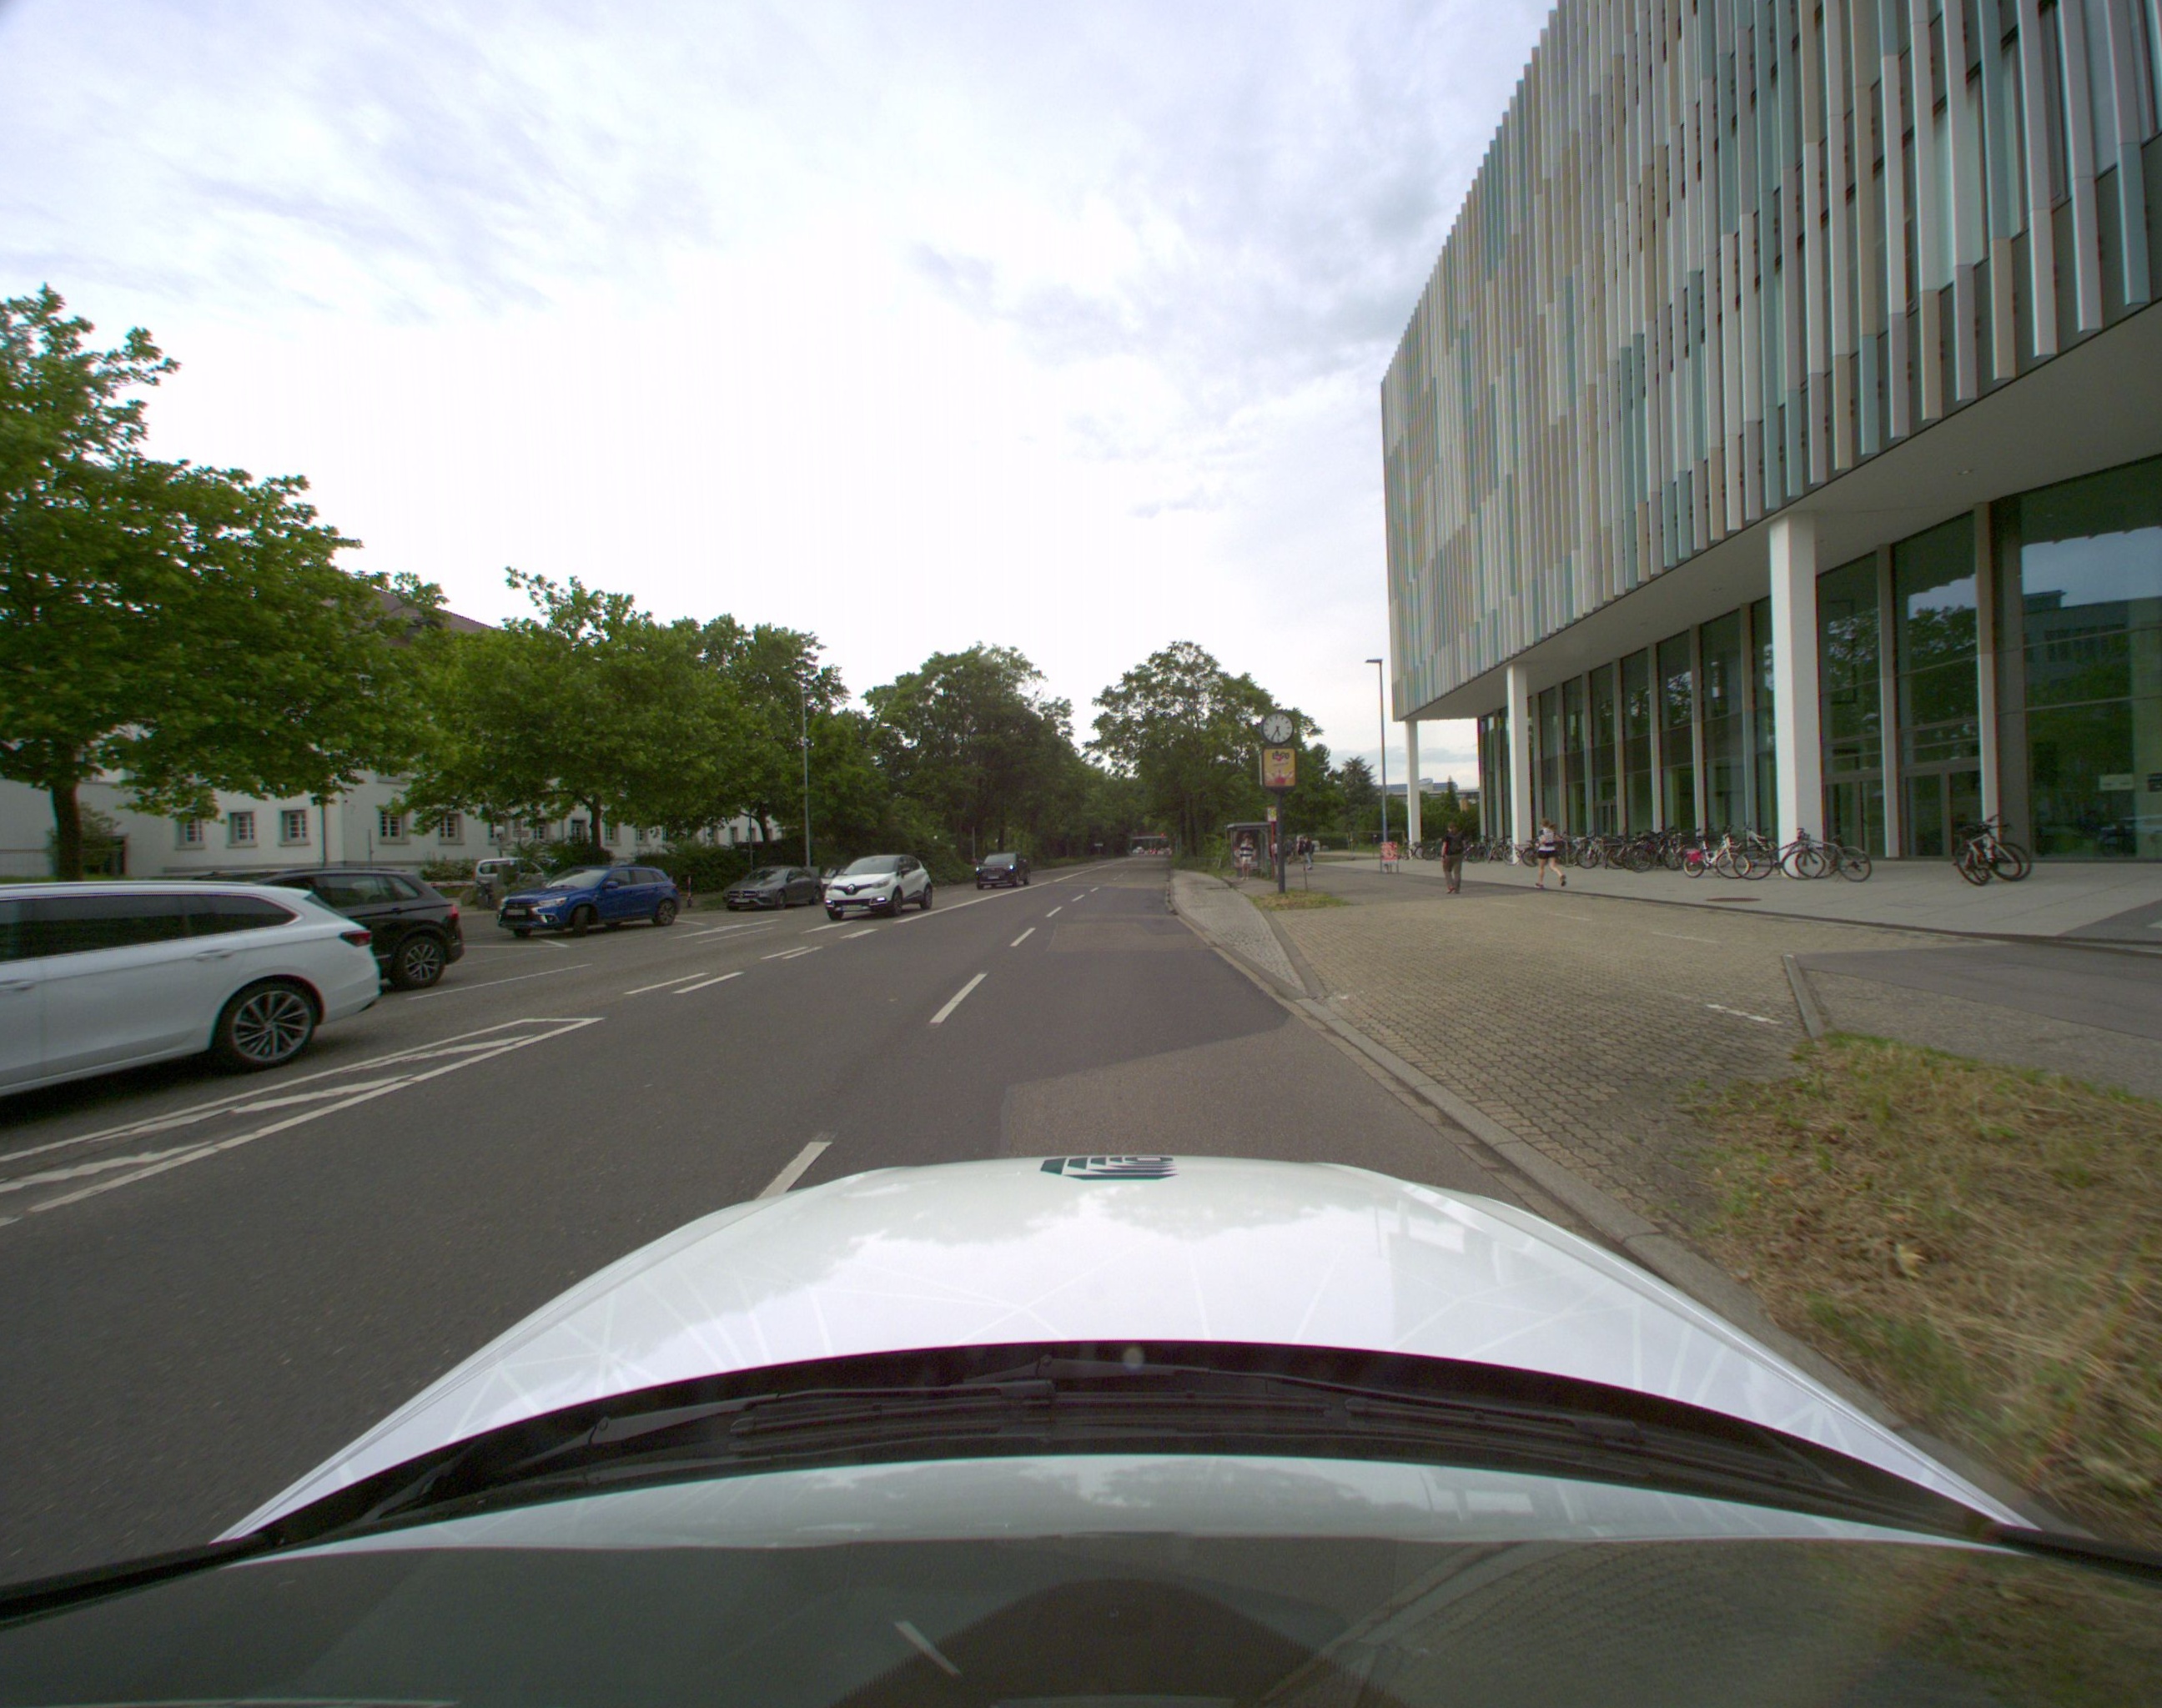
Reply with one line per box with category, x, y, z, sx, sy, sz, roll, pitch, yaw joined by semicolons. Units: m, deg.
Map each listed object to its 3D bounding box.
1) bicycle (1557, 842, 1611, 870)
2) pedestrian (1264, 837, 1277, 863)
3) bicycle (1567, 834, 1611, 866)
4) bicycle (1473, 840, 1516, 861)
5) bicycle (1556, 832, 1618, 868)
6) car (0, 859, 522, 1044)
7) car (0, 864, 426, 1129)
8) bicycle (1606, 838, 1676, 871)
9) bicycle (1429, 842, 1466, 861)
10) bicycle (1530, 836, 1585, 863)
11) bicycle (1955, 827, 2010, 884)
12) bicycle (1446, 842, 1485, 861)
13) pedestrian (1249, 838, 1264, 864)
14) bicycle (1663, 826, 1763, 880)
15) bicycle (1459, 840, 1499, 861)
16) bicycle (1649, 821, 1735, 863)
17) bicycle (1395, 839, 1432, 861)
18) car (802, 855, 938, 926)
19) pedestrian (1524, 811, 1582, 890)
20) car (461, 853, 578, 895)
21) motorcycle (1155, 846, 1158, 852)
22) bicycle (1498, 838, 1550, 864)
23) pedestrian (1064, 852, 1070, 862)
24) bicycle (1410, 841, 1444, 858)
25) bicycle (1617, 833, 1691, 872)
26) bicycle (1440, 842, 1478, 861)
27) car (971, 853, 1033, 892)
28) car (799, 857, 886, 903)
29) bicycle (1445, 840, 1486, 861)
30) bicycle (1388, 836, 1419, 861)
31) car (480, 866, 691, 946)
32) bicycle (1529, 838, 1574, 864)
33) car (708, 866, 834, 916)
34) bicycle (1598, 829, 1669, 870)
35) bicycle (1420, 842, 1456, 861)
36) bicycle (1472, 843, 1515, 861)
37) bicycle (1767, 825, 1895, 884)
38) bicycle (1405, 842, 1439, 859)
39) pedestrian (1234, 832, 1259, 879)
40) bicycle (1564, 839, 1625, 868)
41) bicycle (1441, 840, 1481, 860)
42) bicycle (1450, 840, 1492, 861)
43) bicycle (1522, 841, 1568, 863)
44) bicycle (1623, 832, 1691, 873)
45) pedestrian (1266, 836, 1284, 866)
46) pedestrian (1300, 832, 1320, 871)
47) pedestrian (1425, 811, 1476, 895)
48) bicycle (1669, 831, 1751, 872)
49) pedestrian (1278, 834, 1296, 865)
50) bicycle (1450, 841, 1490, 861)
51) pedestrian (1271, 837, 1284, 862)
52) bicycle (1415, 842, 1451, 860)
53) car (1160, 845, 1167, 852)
bicycle;17.605;0.079;28.509;1.598;0.896;0.367;-2;0;6
pedestrian;15.191;-0.335;65.401;0.821;2.013;0.720;-2;0;2
bicycle;17.826;-0.152;28.601;1.190;1.049;0.436;-3;0;12
bicycle;17.703;-0.149;34.901;1.524;0.833;0.557;-3;0;6
bicycle;17.154;-0.133;27.633;1.634;1.102;0.574;-4;0;9
car;-9.690;0.979;10.137;1.983;1.694;4.476;-2;0;6
car;-7.114;0.846;4.980;1.894;1.465;4.919;0;0;6
bicycle;16.459;0.012;23.964;1.598;0.874;0.557;-2;0;6
bicycle;18.753;-0.112;41.695;1.598;0.874;0.557;-3;0;6
bicycle;18.072;-0.185;30.913;1.680;0.947;0.518;-2;0;12
bicycle;16.118;0.011;14.553;1.494;0.929;0.436;-3;2;-33
bicycle;18.670;-0.128;39.541;1.595;0.884;0.517;-2;0;6
pedestrian;14.169;-0.219;65.771;0.922;2.013;1.040;-2;0;2
bicycle;14.934;-0.021;19.329;0.633;1.140;2.202;-5;0;2
bicycle;17.722;-0.143;36.288;1.447;0.839;0.557;-3;0;6
bicycle;18.602;-0.352;24.821;0.652;1.144;1.963;-4;0;-43
bicycle;18.896;-0.215;46.272;1.786;1.082;0.627;-4;0;4
car;-5.346;0.863;21.264;1.983;1.547;4.187;-4;0;6
pedestrian;11.335;-0.076;19.587;0.838;1.836;0.895;-2;0;5
car;-22.409;0.780;32.574;3.570;1.601;1.654;0;0;4
motorcycle;22.233;-1.481;239.177;0.985;1.936;2.674;0;0;6
bicycle;16.631;-0.119;30.578;1.598;0.874;0.557;-3;0;6
pedestrian;-2.301;0.531;132.660;0.788;1.613;0.850;0;0;6
bicycle;19.143;-0.256;45.096;1.600;0.874;0.556;-2;0;2
bicycle;16.421;-0.038;23.366;1.598;0.982;0.557;-5;0;6
bicycle;18.798;-0.119;40.492;1.598;0.874;0.557;-3;0;6
car;-3.549;0.792;37.431;1.893;1.593;4.524;-2;0;6
car;-9.634;0.999;33.225;1.983;1.689;4.007;1;0;6
bicycle;17.910;-0.171;37.954;1.598;0.874;0.557;-3;0;6
bicycle;19.017;-0.315;48.050;1.634;1.333;0.465;-5;-1;19
car;-11.732;1.145;19.737;1.848;1.607;4.603;0;0;8
bicycle;17.168;-0.102;29.744;1.276;0.874;0.557;-3;0;6
car;-10.562;1.202;28.212;1.862;1.424;4.741;1;1;10
bicycle;16.873;-0.129;24.914;1.632;1.091;0.574;-5;-1;14
bicycle;18.704;-0.144;42.723;1.598;0.874;0.557;-3;0;6
bicycle;17.990;-0.096;35.526;1.552;0.716;0.557;-3;0;6
bicycle;15.116;0.013;16.487;0.607;1.080;1.959;-4;0;-5
bicycle;18.531;-0.199;44.238;1.598;0.874;0.557;-2;0;6
pedestrian;7.348;0.068;36.210;0.908;2.013;0.855;-4;2;5
bicycle;16.883;-0.022;26.803;1.598;0.874;0.557;-2;0;6
bicycle;17.982;-0.176;38.535;1.598;0.874;0.557;-3;0;6
bicycle;17.665;-0.168;36.938;1.598;0.874;0.557;-3;0;6
bicycle;17.950;-0.078;31.543;1.427;0.746;0.557;-3;0;6
bicycle;16.129;-0.048;22.822;1.393;1.043;0.560;-4;0;6
pedestrian;13.252;-0.196;55.682;0.922;2.013;1.040;-2;0;2
pedestrian;12.189;-0.152;43.342;0.838;2.013;0.896;-2;0;7
pedestrian;9.259;-0.019;20.438;0.838;2.013;0.896;-4;0;8
bicycle;16.844;-0.069;21.828;1.594;0.936;0.571;-5;0;16
pedestrian;14.043;-0.310;55.525;0.922;2.013;1.040;-2;0;2
bicycle;18.612;-0.130;38.975;1.598;0.874;0.557;-3;0;6
pedestrian;15.894;-0.379;65.875;0.820;2.013;0.721;-3;0;5
bicycle;18.709;-0.172;43.314;1.598;0.874;0.557;-3;0;6
car;23.892;-1.528;235.408;1.834;2.013;4.007;0;0;6
